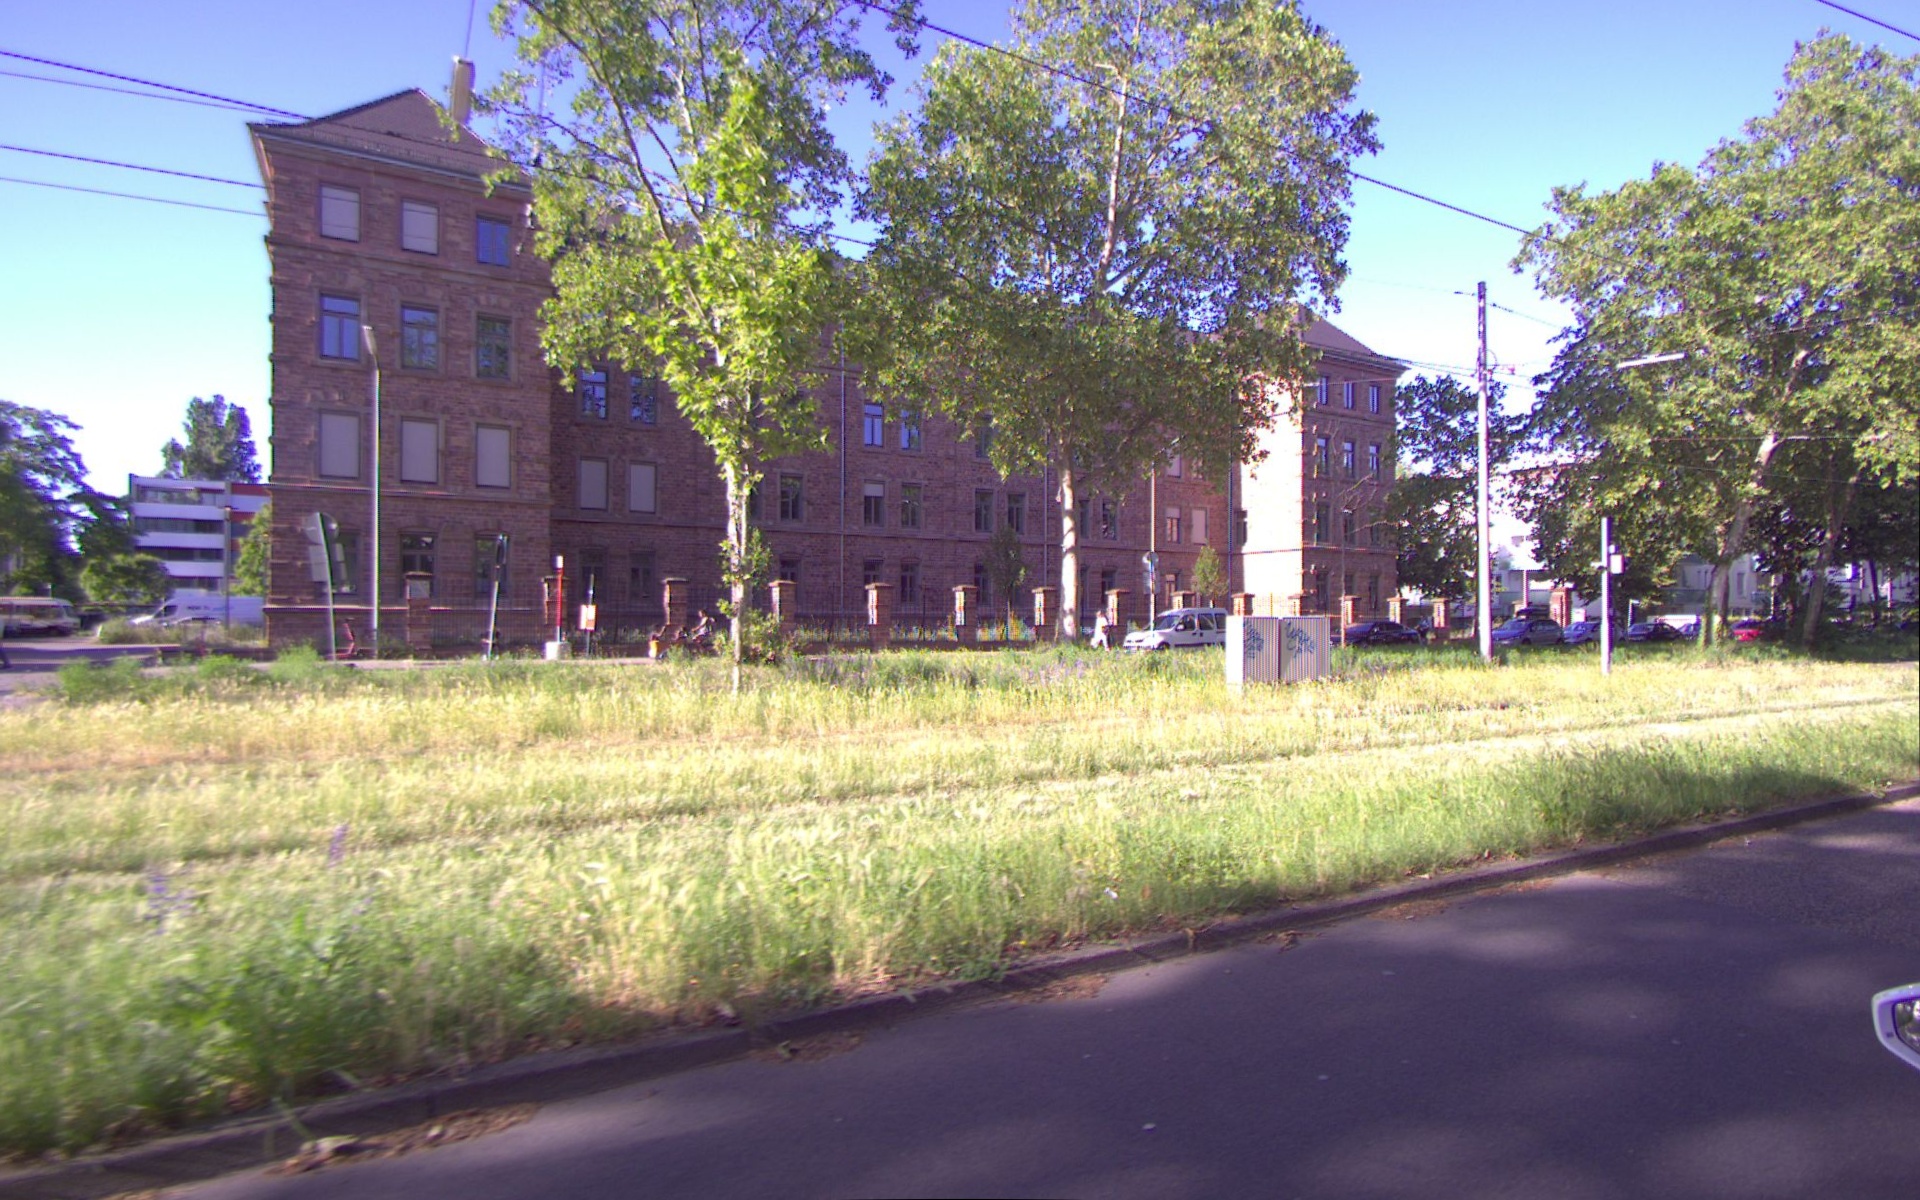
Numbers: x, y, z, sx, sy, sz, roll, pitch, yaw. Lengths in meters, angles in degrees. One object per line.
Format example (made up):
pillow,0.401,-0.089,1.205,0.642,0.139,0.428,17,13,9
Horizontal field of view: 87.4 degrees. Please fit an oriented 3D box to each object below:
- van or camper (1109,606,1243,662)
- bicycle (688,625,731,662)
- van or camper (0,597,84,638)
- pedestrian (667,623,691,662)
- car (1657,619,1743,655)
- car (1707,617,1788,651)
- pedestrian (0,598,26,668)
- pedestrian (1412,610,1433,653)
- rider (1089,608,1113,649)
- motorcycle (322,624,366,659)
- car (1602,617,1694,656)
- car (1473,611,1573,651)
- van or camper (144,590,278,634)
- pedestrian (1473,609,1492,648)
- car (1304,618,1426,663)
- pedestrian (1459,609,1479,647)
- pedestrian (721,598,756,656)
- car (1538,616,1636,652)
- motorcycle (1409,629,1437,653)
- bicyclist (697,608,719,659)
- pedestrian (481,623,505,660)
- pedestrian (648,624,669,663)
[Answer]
van or camper,7.426,1.167,34.377,4.384,1.811,1.983,1,-2,-32
bicycle,-7.533,1.300,30.197,1.166,1.082,0.457,1,-1,-40
van or camper,-61.817,1.167,66.386,5.566,2.678,1.984,1,-1,-31
pedestrian,-8.308,1.250,29.671,0.582,1.114,0.441,1,-1,-35
car,39.208,1.925,53.200,4.685,1.833,2.097,1,-1,-32
car,44.090,1.865,56.206,4.684,1.833,2.098,1,-1,-32
pedestrian,-24.110,0.823,25.172,0.670,1.718,0.882,0,-1,32
pedestrian,21.778,1.483,47.314,0.702,2.040,0.582,1,-1,-31
rider,5.826,1.180,41.406,0.678,1.666,0.725,1,-1,-30
motorcycle,-17.446,1.164,28.454,1.034,0.959,0.332,1,-1,-34
car,34.600,1.796,50.476,4.684,1.833,2.098,1,-1,-31
car,25.177,1.359,44.926,4.362,1.742,1.762,1,-1,-26
van or camper,-47.229,0.783,63.559,6.591,2.678,1.983,1,-1,-31
pedestrian,27.599,1.503,53.050,0.618,2.040,0.711,1,-1,-29
car,16.034,1.550,39.703,4.769,1.671,1.984,0,-1,-30
pedestrian,27.223,1.488,53.714,0.618,2.040,0.711,1,-1,-29
pedestrian,-7.415,0.904,33.642,0.930,1.925,0.897,0,-1,-29
car,29.813,1.606,47.752,4.362,1.637,1.987,1,-1,-26
motorcycle,21.829,1.948,47.346,1.278,1.067,0.581,-1,0,-30
bicyclist,-7.577,1.012,30.164,0.498,1.518,0.450,1,-1,-40
pedestrian,-14.185,1.260,30.507,0.582,1.114,0.441,1,-1,-34
pedestrian,-8.840,1.273,29.437,0.473,1.114,0.583,0,-1,-31
